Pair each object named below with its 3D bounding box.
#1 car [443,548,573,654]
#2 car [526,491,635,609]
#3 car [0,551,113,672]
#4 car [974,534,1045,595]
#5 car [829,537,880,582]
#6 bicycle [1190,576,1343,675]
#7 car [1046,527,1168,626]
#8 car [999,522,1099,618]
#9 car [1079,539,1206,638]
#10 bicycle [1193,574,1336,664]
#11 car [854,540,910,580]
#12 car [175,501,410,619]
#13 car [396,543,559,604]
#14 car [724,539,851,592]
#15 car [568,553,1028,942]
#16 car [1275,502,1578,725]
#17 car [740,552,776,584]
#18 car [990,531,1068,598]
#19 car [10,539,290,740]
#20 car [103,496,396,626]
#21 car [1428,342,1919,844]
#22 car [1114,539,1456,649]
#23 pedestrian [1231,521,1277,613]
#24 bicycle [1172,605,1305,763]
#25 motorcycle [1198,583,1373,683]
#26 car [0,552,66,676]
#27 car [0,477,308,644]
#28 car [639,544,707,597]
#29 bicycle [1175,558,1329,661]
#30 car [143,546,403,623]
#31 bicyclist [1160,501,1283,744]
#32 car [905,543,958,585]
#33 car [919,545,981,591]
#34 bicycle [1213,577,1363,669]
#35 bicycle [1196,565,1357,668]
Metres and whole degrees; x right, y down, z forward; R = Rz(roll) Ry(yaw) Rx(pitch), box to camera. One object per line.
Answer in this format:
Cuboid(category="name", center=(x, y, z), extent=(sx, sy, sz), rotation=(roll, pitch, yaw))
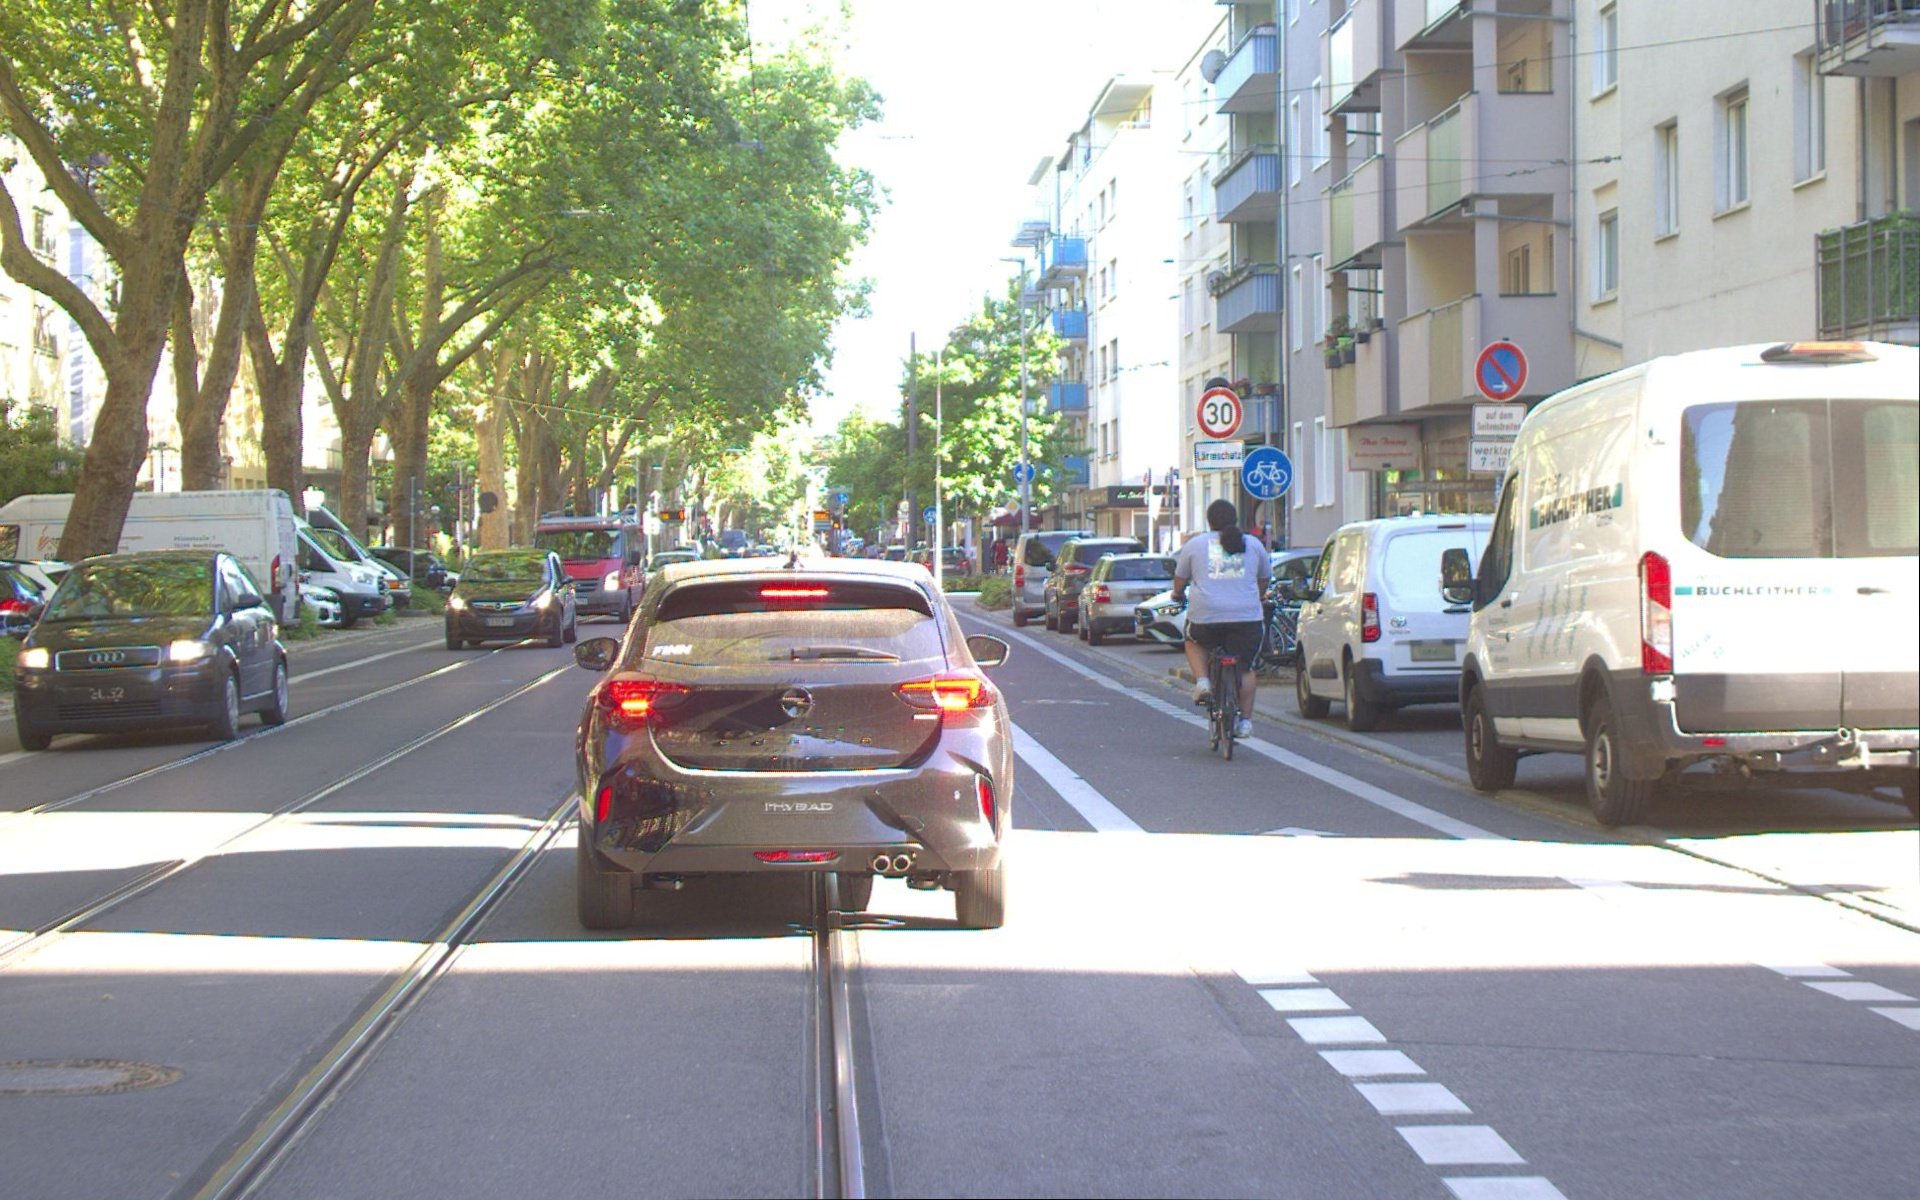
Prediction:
Cuboid(category="car", center=(-6.748, -0.013, 51.598), extent=(1.717, 1.504, 3.723), rotation=(-1, 1, -4))
Cuboid(category="car", center=(-7.416, -0.990, 67.544), extent=(1.917, 2.219, 4.961), rotation=(-1, 1, -4))
Cuboid(category="car", center=(-12.972, 0.145, 43.686), extent=(3.986, 1.491, 1.830), rotation=(-1, 1, -2))
Cuboid(category="car", center=(1.362, -0.995, 95.567), extent=(1.858, 1.646, 4.000), rotation=(0, 1, -1))
Cuboid(category="car", center=(-3.923, -1.509, 128.357), extent=(1.858, 1.646, 4.000), rotation=(0, 1, -1))
Cuboid(category="bicycle", center=(3.507, 0.288, 39.374), extent=(1.652, 1.051, 0.457), rotation=(-2, 1, -2))
Cuboid(category="car", center=(2.614, -0.449, 61.936), extent=(1.766, 1.699, 4.284), rotation=(-1, 1, -3))
Cuboid(category="car", center=(1.794, -0.632, 70.663), extent=(1.858, 1.883, 4.925), rotation=(0, 1, -1))
Cuboid(category="car", center=(2.895, -0.216, 55.312), extent=(1.724, 1.520, 4.513), rotation=(0, 1, -1))
Cuboid(category="bicycle", center=(3.706, 0.233, 41.862), extent=(1.652, 1.017, 0.457), rotation=(-2, 1, -2))
Cuboid(category="car", center=(-3.278, -1.702, 144.637), extent=(1.993, 1.634, 4.001), rotation=(-1, 1, -6))
Cuboid(category="car", center=(-14.831, -0.895, 76.652), extent=(4.942, 2.559, 2.083), rotation=(-1, 1, -5))
Cuboid(category="car", center=(-12.320, -0.676, 87.914), extent=(3.986, 1.516, 1.771), rotation=(0, 1, -3))
Cuboid(category="car", center=(-5.483, -1.109, 109.630), extent=(3.986, 1.646, 1.865), rotation=(-1, 1, -2))
Cuboid(category="car", center=(-0.692, 0.527, 14.592), extent=(1.679, 1.417, 3.628), rotation=(1, 1, -3))
Cuboid(category="car", center=(4.039, 0.071, 30.424), extent=(1.858, 1.814, 4.351), rotation=(-1, 1, -3))
Cuboid(category="car", center=(-10.738, -1.731, 182.747), extent=(1.750, 1.646, 4.000), rotation=(0, 1, -1))
Cuboid(category="car", center=(1.747, -0.924, 87.978), extent=(1.858, 1.646, 4.000), rotation=(0, 1, -1))
Cuboid(category="car", center=(-6.497, 0.274, 27.916), extent=(1.635, 1.504, 3.692), rotation=(-1, 1, -4))
Cuboid(category="car", center=(-13.953, -0.774, 67.761), extent=(5.360, 2.469, 2.057), rotation=(-1, 1, -2))
Cuboid(category="car", center=(4.376, -0.078, 20.122), extent=(2.149, 2.487, 6.089), rotation=(0, 1, -3))
Cuboid(category="car", center=(4.758, -0.110, 50.565), extent=(4.612, 1.432, 1.865), rotation=(-2, 1, -13))
Cuboid(category="pedestrian", center=(5.573, -0.632, 65.224), extent=(0.756, 1.714, 0.720), rotation=(-1, 1, -4))
Cuboid(category="bicycle", center=(2.042, 0.601, 25.423), extent=(0.701, 1.088, 1.990), rotation=(1, 0, -3))
Cuboid(category="motorcycle", center=(3.638, 0.373, 38.411), extent=(1.820, 1.076, 0.617), rotation=(-1, 1, 21))
Cuboid(category="car", center=(-12.826, 0.142, 41.212), extent=(3.793, 1.455, 1.704), rotation=(0, 1, -1))
Cuboid(category="car", center=(-13.158, -0.625, 53.304), extent=(5.740, 2.527, 2.163), rotation=(0, 1, -2))
Cuboid(category="car", center=(-7.580, -0.791, 91.050), extent=(1.717, 1.354, 4.471), rotation=(-1, 1, -4))
Cuboid(category="bicycle", center=(3.630, 0.115, 42.847), extent=(1.823, 1.187, 0.457), rotation=(-2, 1, -2))
Cuboid(category="car", center=(-12.527, -0.292, 62.847), extent=(4.409, 1.380, 1.934), rotation=(0, 1, -2))
Cuboid(category="bicyclist", center=(1.916, 0.157, 25.270), extent=(0.786, 1.753, 0.915), rotation=(0, 1, -3))
Cuboid(category="car", center=(-1.052, -1.325, 125.840), extent=(1.718, 1.485, 3.682), rotation=(-1, 1, -4))
Cuboid(category="car", center=(-0.358, -1.142, 120.175), extent=(1.718, 1.568, 4.086), rotation=(-1, 1, -6))
Cuboid(category="bicycle", center=(3.804, 0.262, 39.916), extent=(1.652, 0.983, 0.457), rotation=(-2, 1, -2))
Cuboid(category="bicycle", center=(3.784, 0.189, 41.209), extent=(1.793, 1.144, 0.704), rotation=(-2, 1, -2))
